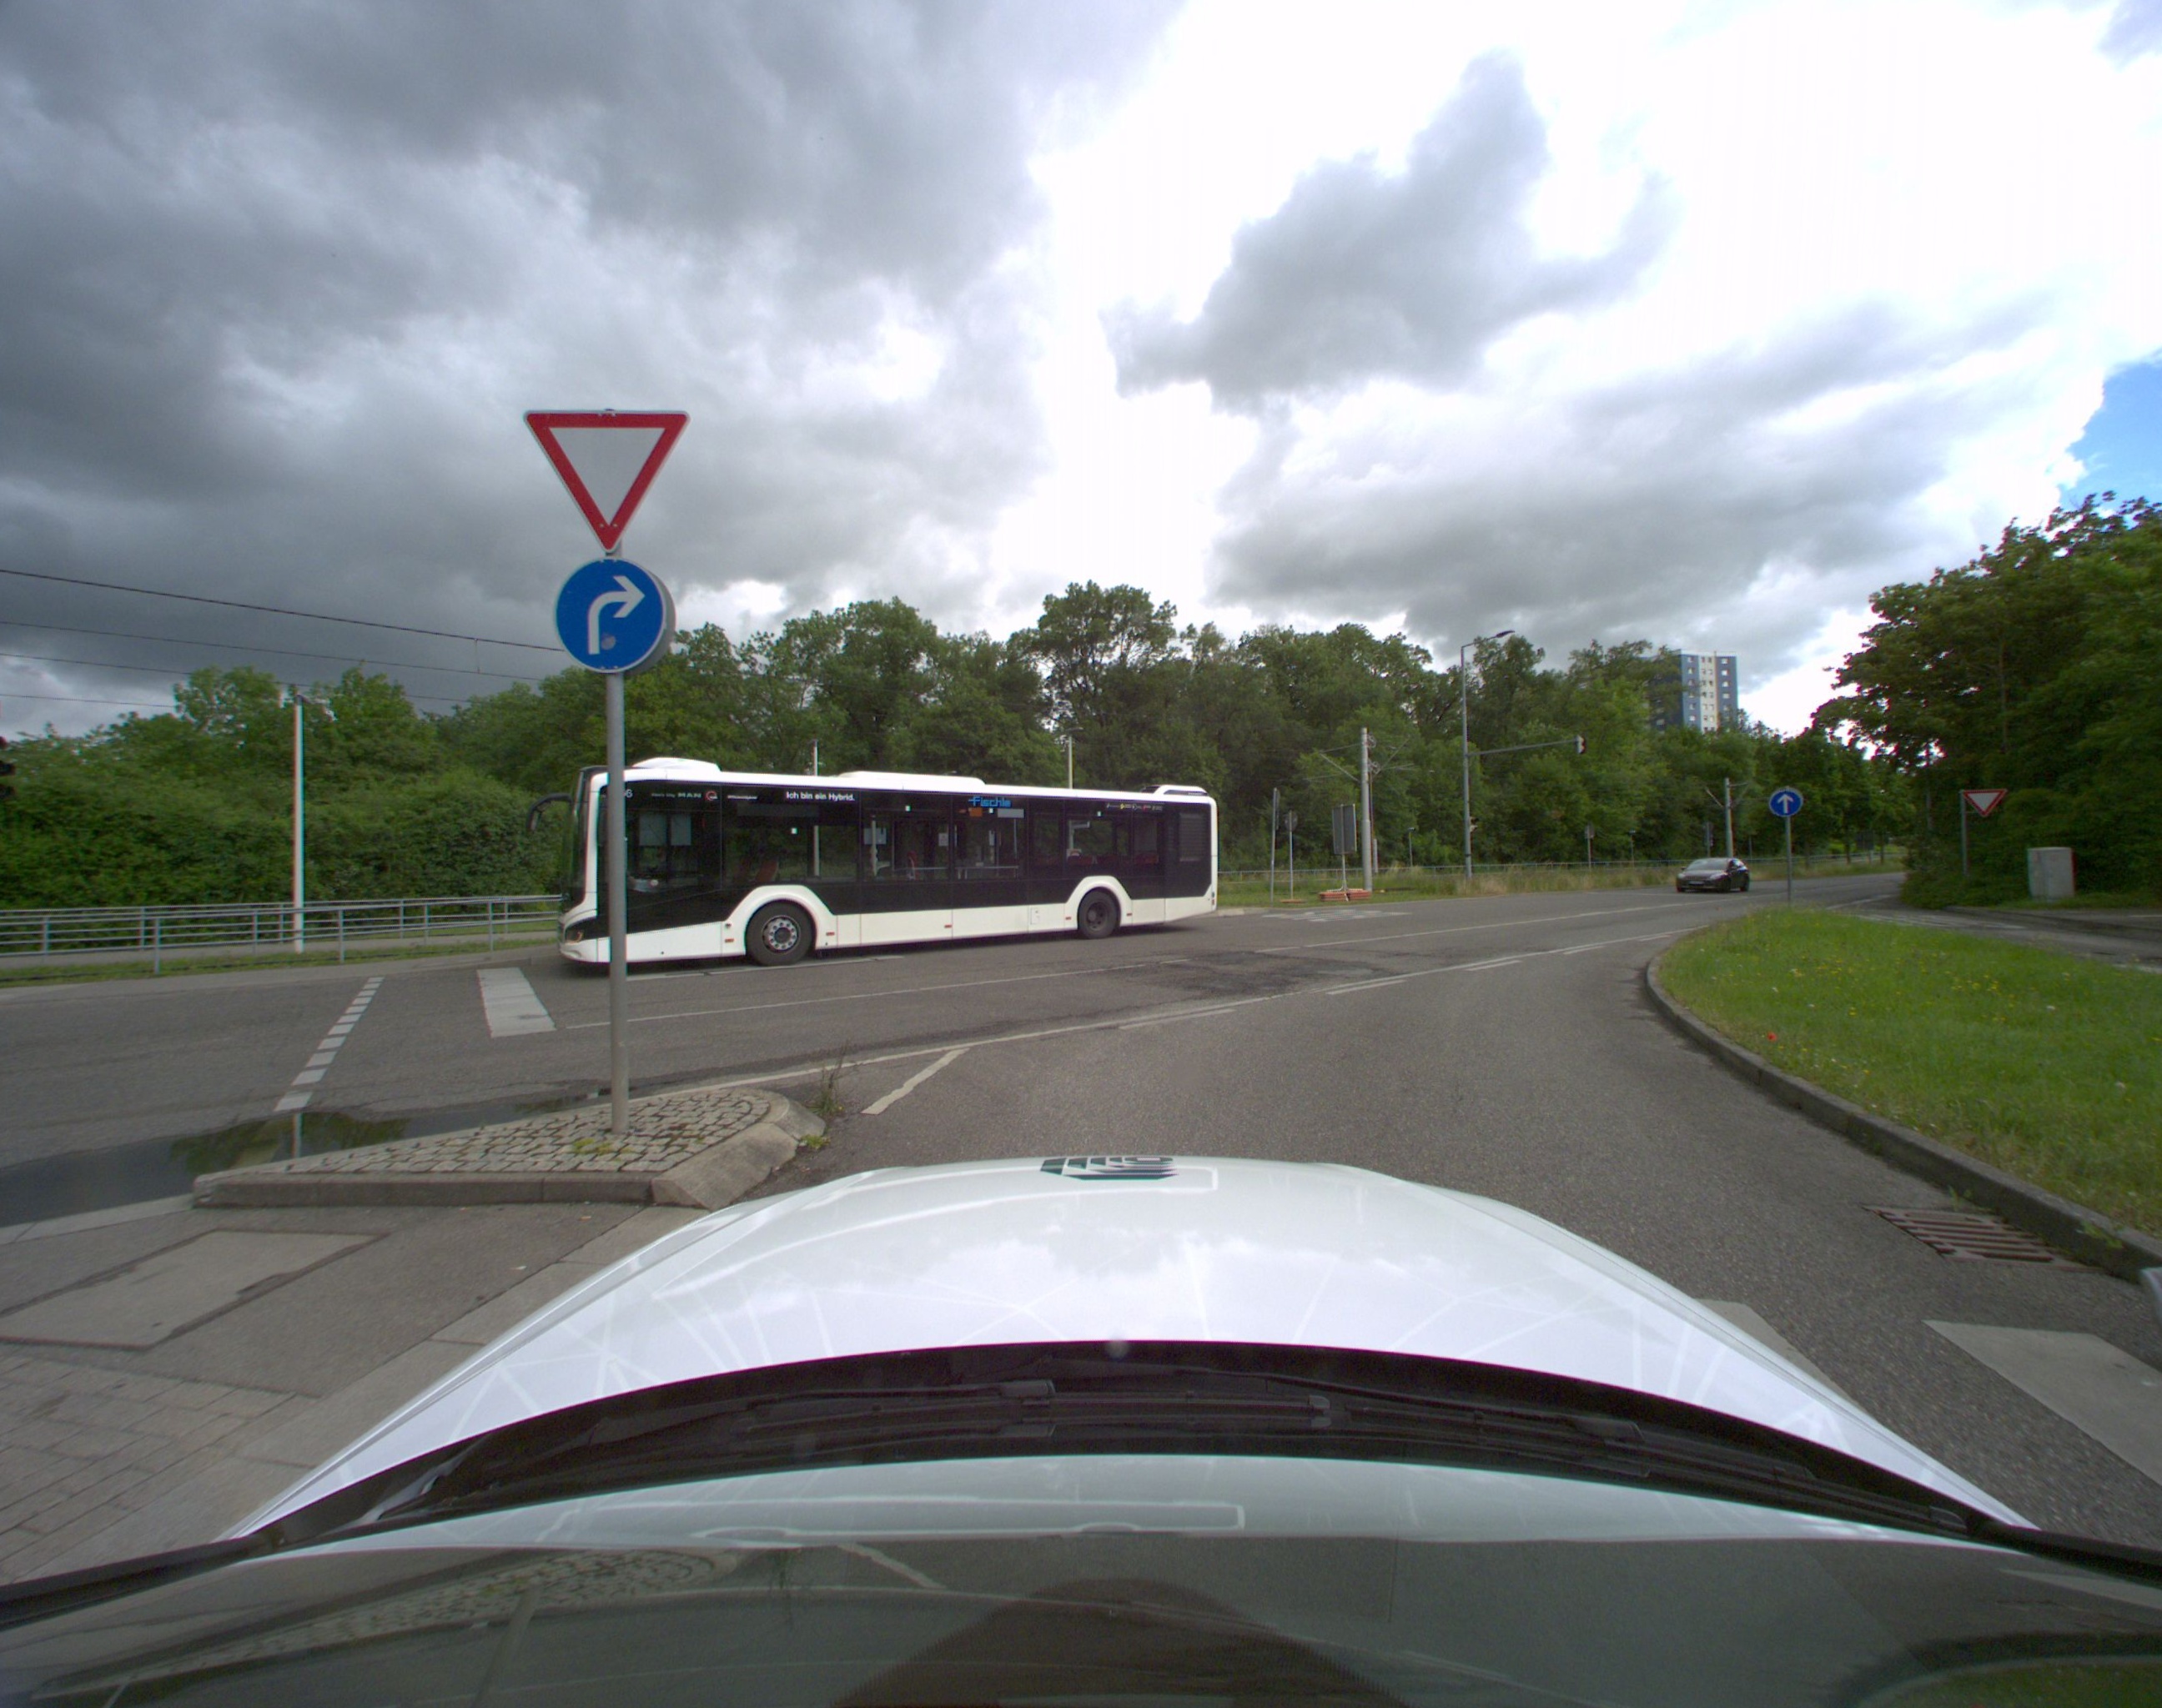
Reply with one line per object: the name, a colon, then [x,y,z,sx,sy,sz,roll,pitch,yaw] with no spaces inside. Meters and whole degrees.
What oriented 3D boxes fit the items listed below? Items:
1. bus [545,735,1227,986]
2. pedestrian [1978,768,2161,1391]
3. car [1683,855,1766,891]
bus: [-2.556,0.092,15.118,12.254,3.203,2.645,0,-1,-37]
pedestrian: [3.516,0.625,2.216,0.954,1.747,1.058,0,-1,-9]
car: [27.486,0.788,34.742,4.449,1.435,1.741,0,-1,-38]
